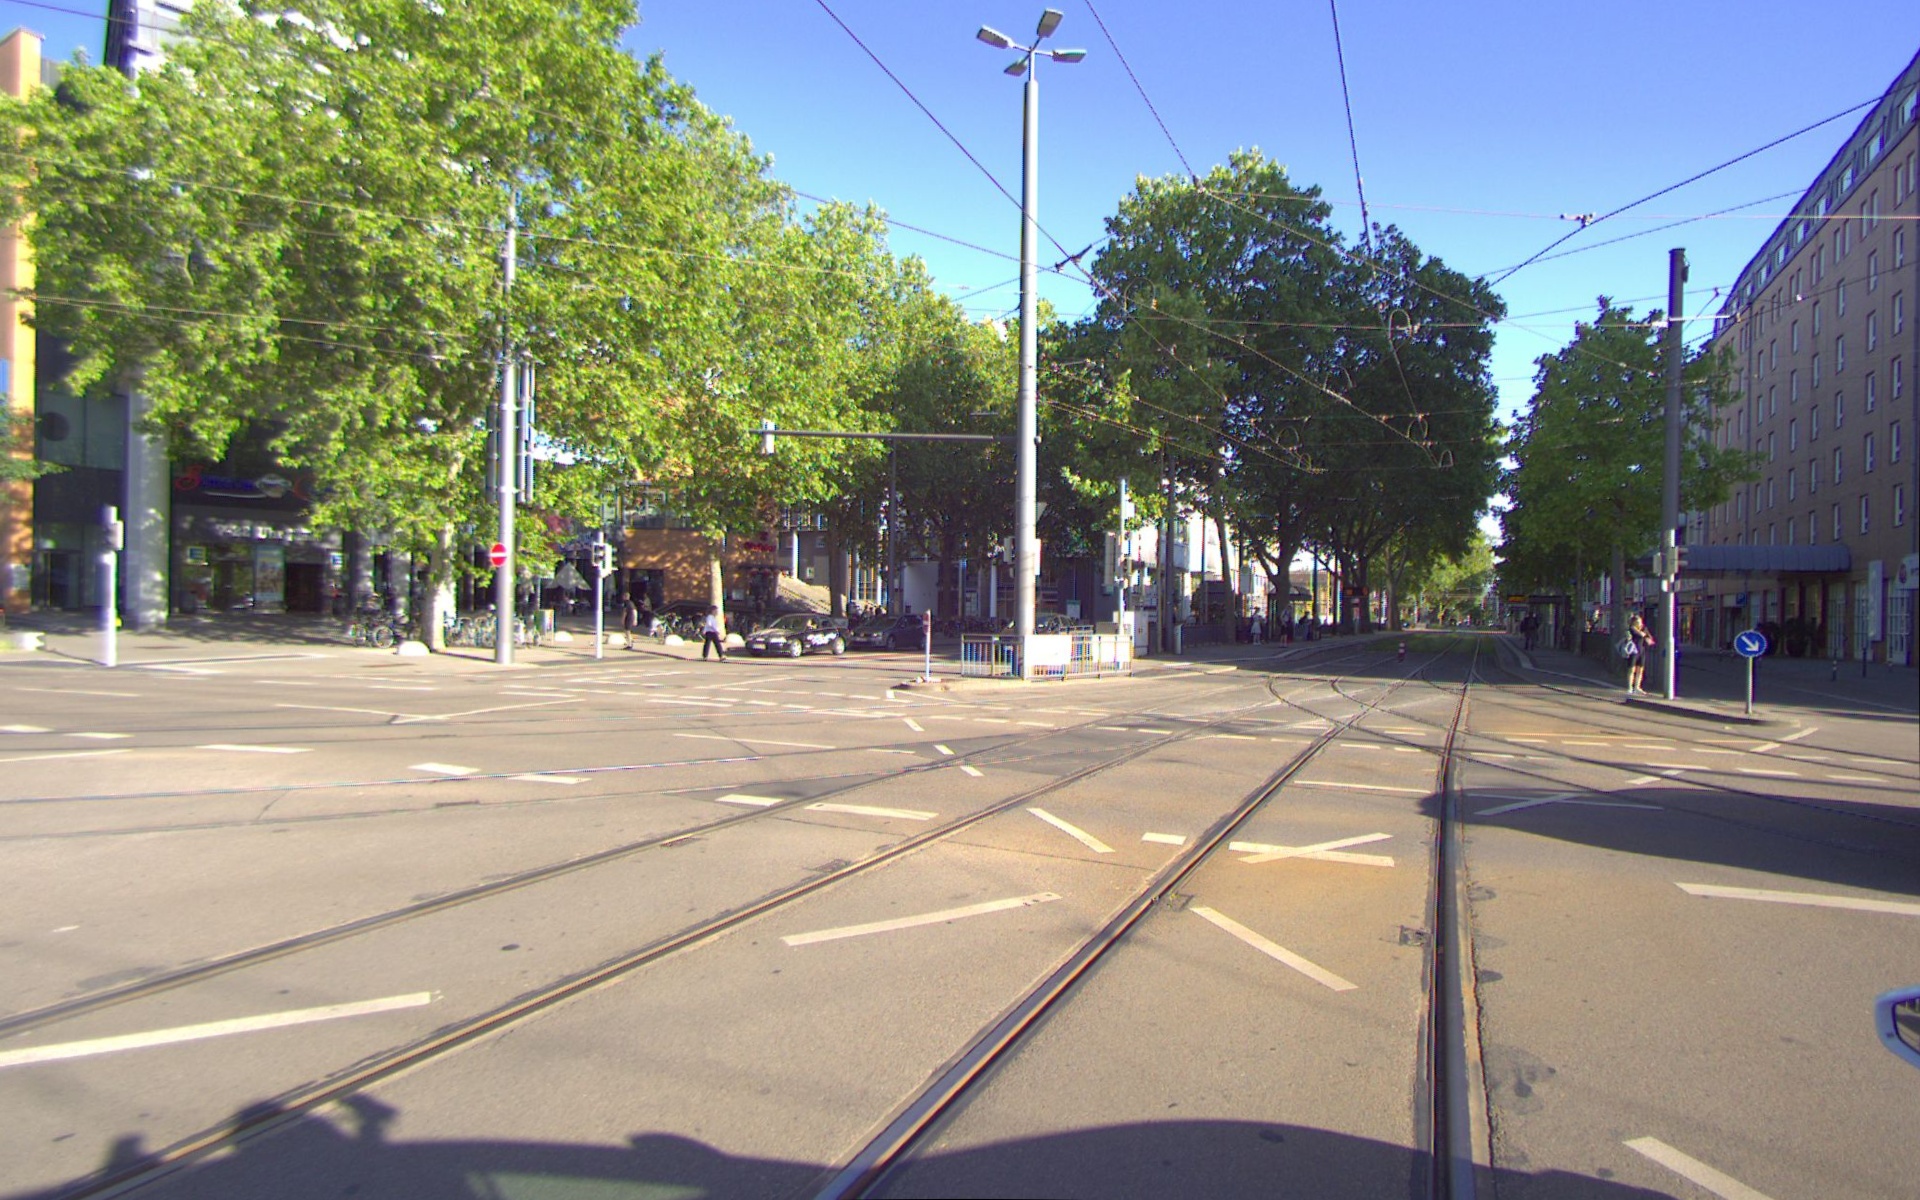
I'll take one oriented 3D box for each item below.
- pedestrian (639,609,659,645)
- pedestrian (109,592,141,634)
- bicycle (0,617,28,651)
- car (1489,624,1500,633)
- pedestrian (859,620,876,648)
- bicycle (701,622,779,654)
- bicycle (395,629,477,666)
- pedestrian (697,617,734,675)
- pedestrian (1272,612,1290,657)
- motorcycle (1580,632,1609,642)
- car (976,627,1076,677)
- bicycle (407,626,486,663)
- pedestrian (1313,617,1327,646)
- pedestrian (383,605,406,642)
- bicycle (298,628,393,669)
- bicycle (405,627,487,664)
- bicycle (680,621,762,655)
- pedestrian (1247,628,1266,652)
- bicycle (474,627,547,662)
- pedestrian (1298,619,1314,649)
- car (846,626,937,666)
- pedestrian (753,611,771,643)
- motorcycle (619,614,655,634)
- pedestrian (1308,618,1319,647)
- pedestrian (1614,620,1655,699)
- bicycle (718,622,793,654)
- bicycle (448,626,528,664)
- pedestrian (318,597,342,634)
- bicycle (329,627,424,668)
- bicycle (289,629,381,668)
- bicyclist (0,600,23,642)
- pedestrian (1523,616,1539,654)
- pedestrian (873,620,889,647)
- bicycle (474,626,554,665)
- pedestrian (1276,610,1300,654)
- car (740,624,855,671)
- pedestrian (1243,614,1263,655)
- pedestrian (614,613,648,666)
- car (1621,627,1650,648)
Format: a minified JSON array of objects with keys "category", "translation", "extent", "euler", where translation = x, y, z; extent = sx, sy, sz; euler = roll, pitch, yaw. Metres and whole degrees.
[{"category":"pedestrian","translation":[-15.948,1.372,51.472],"extent":[0.688,1.791,0.702],"euler":[1,-1,40]},{"category":"pedestrian","translation":[-34.712,0.556,41.761],"extent":[0.720,1.728,0.698],"euler":[1,-1,-9]},{"category":"bicycle","translation":[-33.790,1.199,35.527],"extent":[1.818,1.152,0.693],"euler":[0,-1,30]},{"category":"car","translation":[90.090,4.812,169.415],"extent":[1.589,1.521,3.686],"euler":[1,-1,27]},{"category":"pedestrian","translation":[-5.455,1.996,59.097],"extent":[0.686,1.674,0.705],"euler":[1,0,28]},{"category":"bicycle","translation":[-9.884,1.691,45.156],"extent":[3.294,1.371,1.035],"euler":[1,-1,15]},{"category":"bicycle","translation":[-16.656,1.503,31.989],"extent":[0.588,1.143,2.363],"euler":[0,-2,29]},{"category":"pedestrian","translation":[-7.269,1.354,29.893],"extent":[0.818,1.702,0.713],"euler":[-2,-2,37]},{"category":"pedestrian","translation":[13.468,1.454,42.092],"extent":[0.624,1.853,0.744],"euler":[1,0,23]},{"category":"motorcycle","translation":[72.799,4.200,115.332],"extent":[1.283,1.072,3.097],"euler":[1,-1,-2]},{"category":"car","translation":[2.119,1.588,31.266],"extent":[1.641,1.433,3.995],"euler":[1,-2,27]},{"category":"bicycle","translation":[-16.839,1.448,32.993],"extent":[0.588,1.143,2.363],"euler":[0,-2,29]},{"category":"pedestrian","translation":[20.322,1.794,56.762],"extent":[0.557,1.594,0.636],"euler":[1,1,40]},{"category":"pedestrian","translation":[-25.709,1.055,45.669],"extent":[0.693,1.674,0.697],"euler":[1,0,-12]},{"category":"bicycle","translation":[-17.976,1.393,29.436],"extent":[0.588,1.143,2.362],"euler":[0,-2,30]},{"category":"bicycle","translation":[-16.122,1.414,31.602],"extent":[0.588,1.143,2.363],"euler":[0,-2,29]},{"category":"bicycle","translation":[-10.281,1.600,43.166],"extent":[3.294,1.371,1.035],"euler":[1,-1,15]},{"category":"pedestrian","translation":[14.591,1.969,49.433],"extent":[0.584,1.179,0.740],"euler":[1,-1,43]},{"category":"bicycle","translation":[-15.136,1.475,33.907],"extent":[0.588,1.143,2.363],"euler":[0,-2,29]},{"category":"pedestrian","translation":[18.696,1.851,54.260],"extent":[0.661,1.594,0.483],"euler":[0,1,-19]},{"category":"car","translation":[-2.619,1.775,39.313],"extent":[1.641,1.425,3.994],"euler":[1,-2,29]},{"category":"pedestrian","translation":[-10.733,1.466,54.471],"extent":[0.686,1.674,0.705],"euler":[1,0,28]},{"category":"motorcycle","translation":[-18.343,1.365,57.040],"extent":[2.307,1.072,0.828],"euler":[0,-1,39]},{"category":"pedestrian","translation":[19.821,1.807,56.277],"extent":[0.494,1.594,0.493],"euler":[1,1,32]},{"category":"pedestrian","translation":[15.074,1.317,22.451],"extent":[0.705,1.702,0.828],"euler":[-1,-2,36]},{"category":"bicycle","translation":[-9.490,1.759,46.624],"extent":[3.294,1.371,1.035],"euler":[1,-1,15]},{"category":"bicycle","translation":[-14.789,1.400,31.562],"extent":[0.588,1.143,2.363],"euler":[0,-2,29]},{"category":"pedestrian","translation":[-29.220,0.731,46.599],"extent":[0.694,1.674,0.696],"euler":[1,0,34]},{"category":"bicycle","translation":[-16.672,1.341,28.786],"extent":[0.588,1.143,2.362],"euler":[0,-2,30]},{"category":"bicycle","translation":[-19.023,1.457,30.633],"extent":[0.588,1.143,2.362],"euler":[0,-2,30]},{"category":"bicyclist","translation":[-33.760,0.746,35.527],"extent":[0.741,1.480,0.693],"euler":[0,-1,30]},{"category":"pedestrian","translation":[25.658,1.575,45.123],"extent":[0.595,1.702,0.486],"euler":[-1,-2,28]},{"category":"pedestrian","translation":[-5.009,2.118,63.545],"extent":[0.686,1.674,0.705],"euler":[0,-1,28]},{"category":"bicycle","translation":[-13.747,1.385,31.030],"extent":[0.588,1.143,2.363],"euler":[0,-2,29]},{"category":"pedestrian","translation":[13.973,1.354,42.803],"extent":[0.736,1.853,0.587],"euler":[1,0,-31]},{"category":"car","translation":[-5.339,1.569,33.424],"extent":[1.641,1.425,3.994],"euler":[1,-2,29]},{"category":"pedestrian","translation":[13.397,1.573,45.982],"extent":[0.584,1.824,0.740],"euler":[1,-1,43]},{"category":"pedestrian","translation":[-10.700,1.292,32.670],"extent":[0.817,1.702,0.715],"euler":[-1,-2,31]},{"category":"car","translation":[57.249,3.177,85.164],"extent":[1.647,1.674,3.685],"euler":[1,-1,28]}]
